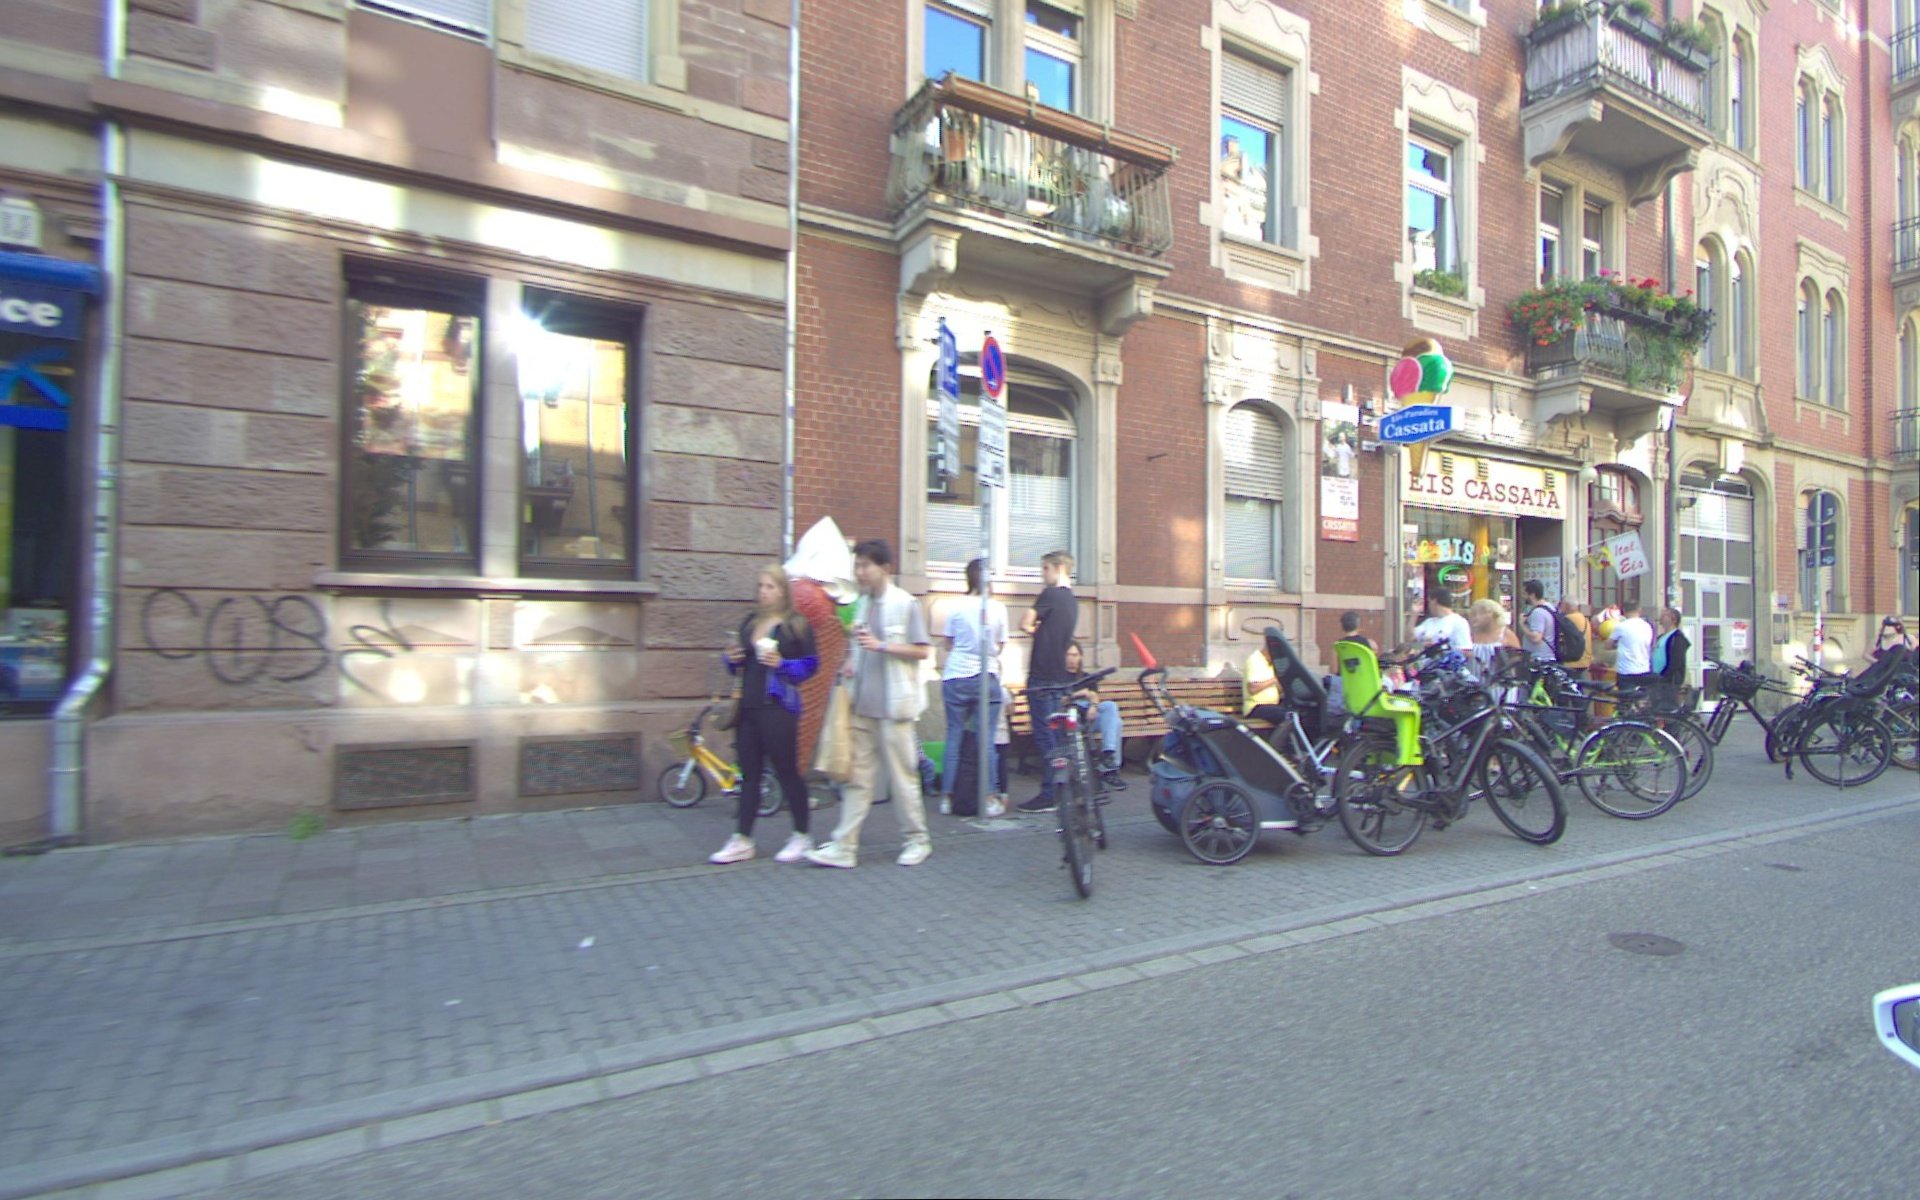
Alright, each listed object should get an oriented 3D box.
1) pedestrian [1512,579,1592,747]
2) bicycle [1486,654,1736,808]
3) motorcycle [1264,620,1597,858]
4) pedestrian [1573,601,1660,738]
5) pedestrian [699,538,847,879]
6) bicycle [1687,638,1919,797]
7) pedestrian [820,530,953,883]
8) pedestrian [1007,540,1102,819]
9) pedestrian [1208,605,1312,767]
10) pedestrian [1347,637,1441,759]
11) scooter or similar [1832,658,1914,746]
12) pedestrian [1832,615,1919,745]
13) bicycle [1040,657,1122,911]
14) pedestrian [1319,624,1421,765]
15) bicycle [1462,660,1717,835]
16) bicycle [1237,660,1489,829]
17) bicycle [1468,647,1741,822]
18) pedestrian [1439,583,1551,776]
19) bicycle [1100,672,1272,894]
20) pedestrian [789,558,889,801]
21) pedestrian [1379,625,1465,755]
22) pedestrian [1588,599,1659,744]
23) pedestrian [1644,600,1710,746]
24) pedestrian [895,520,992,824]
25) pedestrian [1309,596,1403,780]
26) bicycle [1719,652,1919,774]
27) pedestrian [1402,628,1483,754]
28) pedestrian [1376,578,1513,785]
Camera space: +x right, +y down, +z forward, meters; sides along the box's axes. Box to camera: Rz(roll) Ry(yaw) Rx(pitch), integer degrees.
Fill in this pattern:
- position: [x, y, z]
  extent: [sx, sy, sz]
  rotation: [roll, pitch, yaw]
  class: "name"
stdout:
- position: [6.928, 0.713, 11.791]
  extent: [0.749, 1.878, 0.665]
  rotation: [1, 0, 29]
  class: "pedestrian"
- position: [5.489, 1.076, 8.590]
  extent: [1.705, 1.135, 0.555]
  rotation: [1, 0, 24]
  class: "bicycle"
- position: [3.086, 0.862, 6.611]
  extent: [1.990, 1.403, 0.707]
  rotation: [1, 0, -16]
  class: "motorcycle"
- position: [8.556, 0.887, 13.092]
  extent: [0.754, 1.718, 0.660]
  rotation: [1, 0, -30]
  class: "pedestrian"
- position: [-1.029, 0.575, 5.688]
  extent: [0.652, 1.783, 0.763]
  rotation: [1, 0, 0]
  class: "pedestrian"
- position: [7.887, 1.059, 9.414]
  extent: [1.645, 1.340, 0.527]
  rotation: [1, 0, 25]
  class: "bicycle"
- position: [-0.389, 0.563, 5.664]
  extent: [0.652, 1.843, 0.763]
  rotation: [1, 0, 0]
  class: "pedestrian"
- position: [0.667, 0.553, 7.276]
  extent: [0.589, 1.917, 0.648]
  rotation: [1, 0, 0]
  class: "pedestrian"
- position: [2.864, 0.798, 9.618]
  extent: [0.714, 1.489, 0.604]
  rotation: [1, 0, -20]
  class: "pedestrian"
- position: [4.581, 1.008, 10.615]
  extent: [0.580, 1.212, 0.704]
  rotation: [1, 0, -34]
  class: "pedestrian"
- position: [12.037, 1.325, 13.243]
  extent: [0.913, 1.069, 0.601]
  rotation: [1, 0, -35]
  class: "scooter or similar"
- position: [12.625, 1.056, 13.730]
  extent: [0.821, 1.683, 0.904]
  rotation: [1, 0, -38]
  class: "pedestrian"
- position: [0.701, 0.921, 5.598]
  extent: [0.366, 1.132, 1.583]
  rotation: [1, 0, 9]
  class: "bicycle"
- position: [4.111, 0.922, 10.088]
  extent: [0.600, 1.331, 0.718]
  rotation: [1, 0, -33]
  class: "pedestrian"
- position: [4.685, 1.063, 7.592]
  extent: [1.540, 1.135, 0.590]
  rotation: [1, 0, 24]
  class: "bicycle"
- position: [2.936, 1.012, 7.316]
  extent: [1.710, 1.105, 0.578]
  rotation: [1, 0, -17]
  class: "bicycle"
- position: [5.104, 1.025, 8.091]
  extent: [1.756, 1.216, 0.590]
  rotation: [1, 0, 24]
  class: "bicycle"
- position: [5.131, 0.738, 9.642]
  extent: [0.714, 1.775, 0.604]
  rotation: [1, 0, -20]
  class: "pedestrian"
- position: [1.305, 1.021, 6.111]
  extent: [0.402, 1.044, 1.684]
  rotation: [1, 0, -9]
  class: "bicycle"
- position: [-0.916, 0.590, 7.763]
  extent: [0.652, 1.783, 0.690]
  rotation: [1, 0, 0]
  class: "pedestrian"
- position: [5.008, 0.953, 10.907]
  extent: [0.435, 1.331, 0.713]
  rotation: [1, 0, -34]
  class: "pedestrian"
- position: [8.140, 0.852, 12.340]
  extent: [0.654, 1.718, 0.585]
  rotation: [1, 0, 29]
  class: "pedestrian"
- position: [8.755, 0.870, 12.284]
  extent: [0.555, 1.718, 0.646]
  rotation: [1, 0, 29]
  class: "pedestrian"
- position: [-0.120, 0.490, 7.088]
  extent: [0.618, 2.040, 0.645]
  rotation: [1, 0, -2]
  class: "pedestrian"
- position: [3.679, 0.786, 9.332]
  extent: [0.577, 1.638, 0.550]
  rotation: [1, 0, -30]
  class: "pedestrian"
- position: [9.587, 1.195, 10.737]
  extent: [2.224, 1.174, 0.809]
  rotation: [1, 0, 7]
  class: "bicycle"
- position: [5.343, 0.986, 11.140]
  extent: [0.369, 1.331, 0.696]
  rotation: [1, 0, -34]
  class: "pedestrian"
- position: [4.356, 0.710, 9.058]
  extent: [0.930, 1.775, 0.604]
  rotation: [1, 0, -18]
  class: "pedestrian"
